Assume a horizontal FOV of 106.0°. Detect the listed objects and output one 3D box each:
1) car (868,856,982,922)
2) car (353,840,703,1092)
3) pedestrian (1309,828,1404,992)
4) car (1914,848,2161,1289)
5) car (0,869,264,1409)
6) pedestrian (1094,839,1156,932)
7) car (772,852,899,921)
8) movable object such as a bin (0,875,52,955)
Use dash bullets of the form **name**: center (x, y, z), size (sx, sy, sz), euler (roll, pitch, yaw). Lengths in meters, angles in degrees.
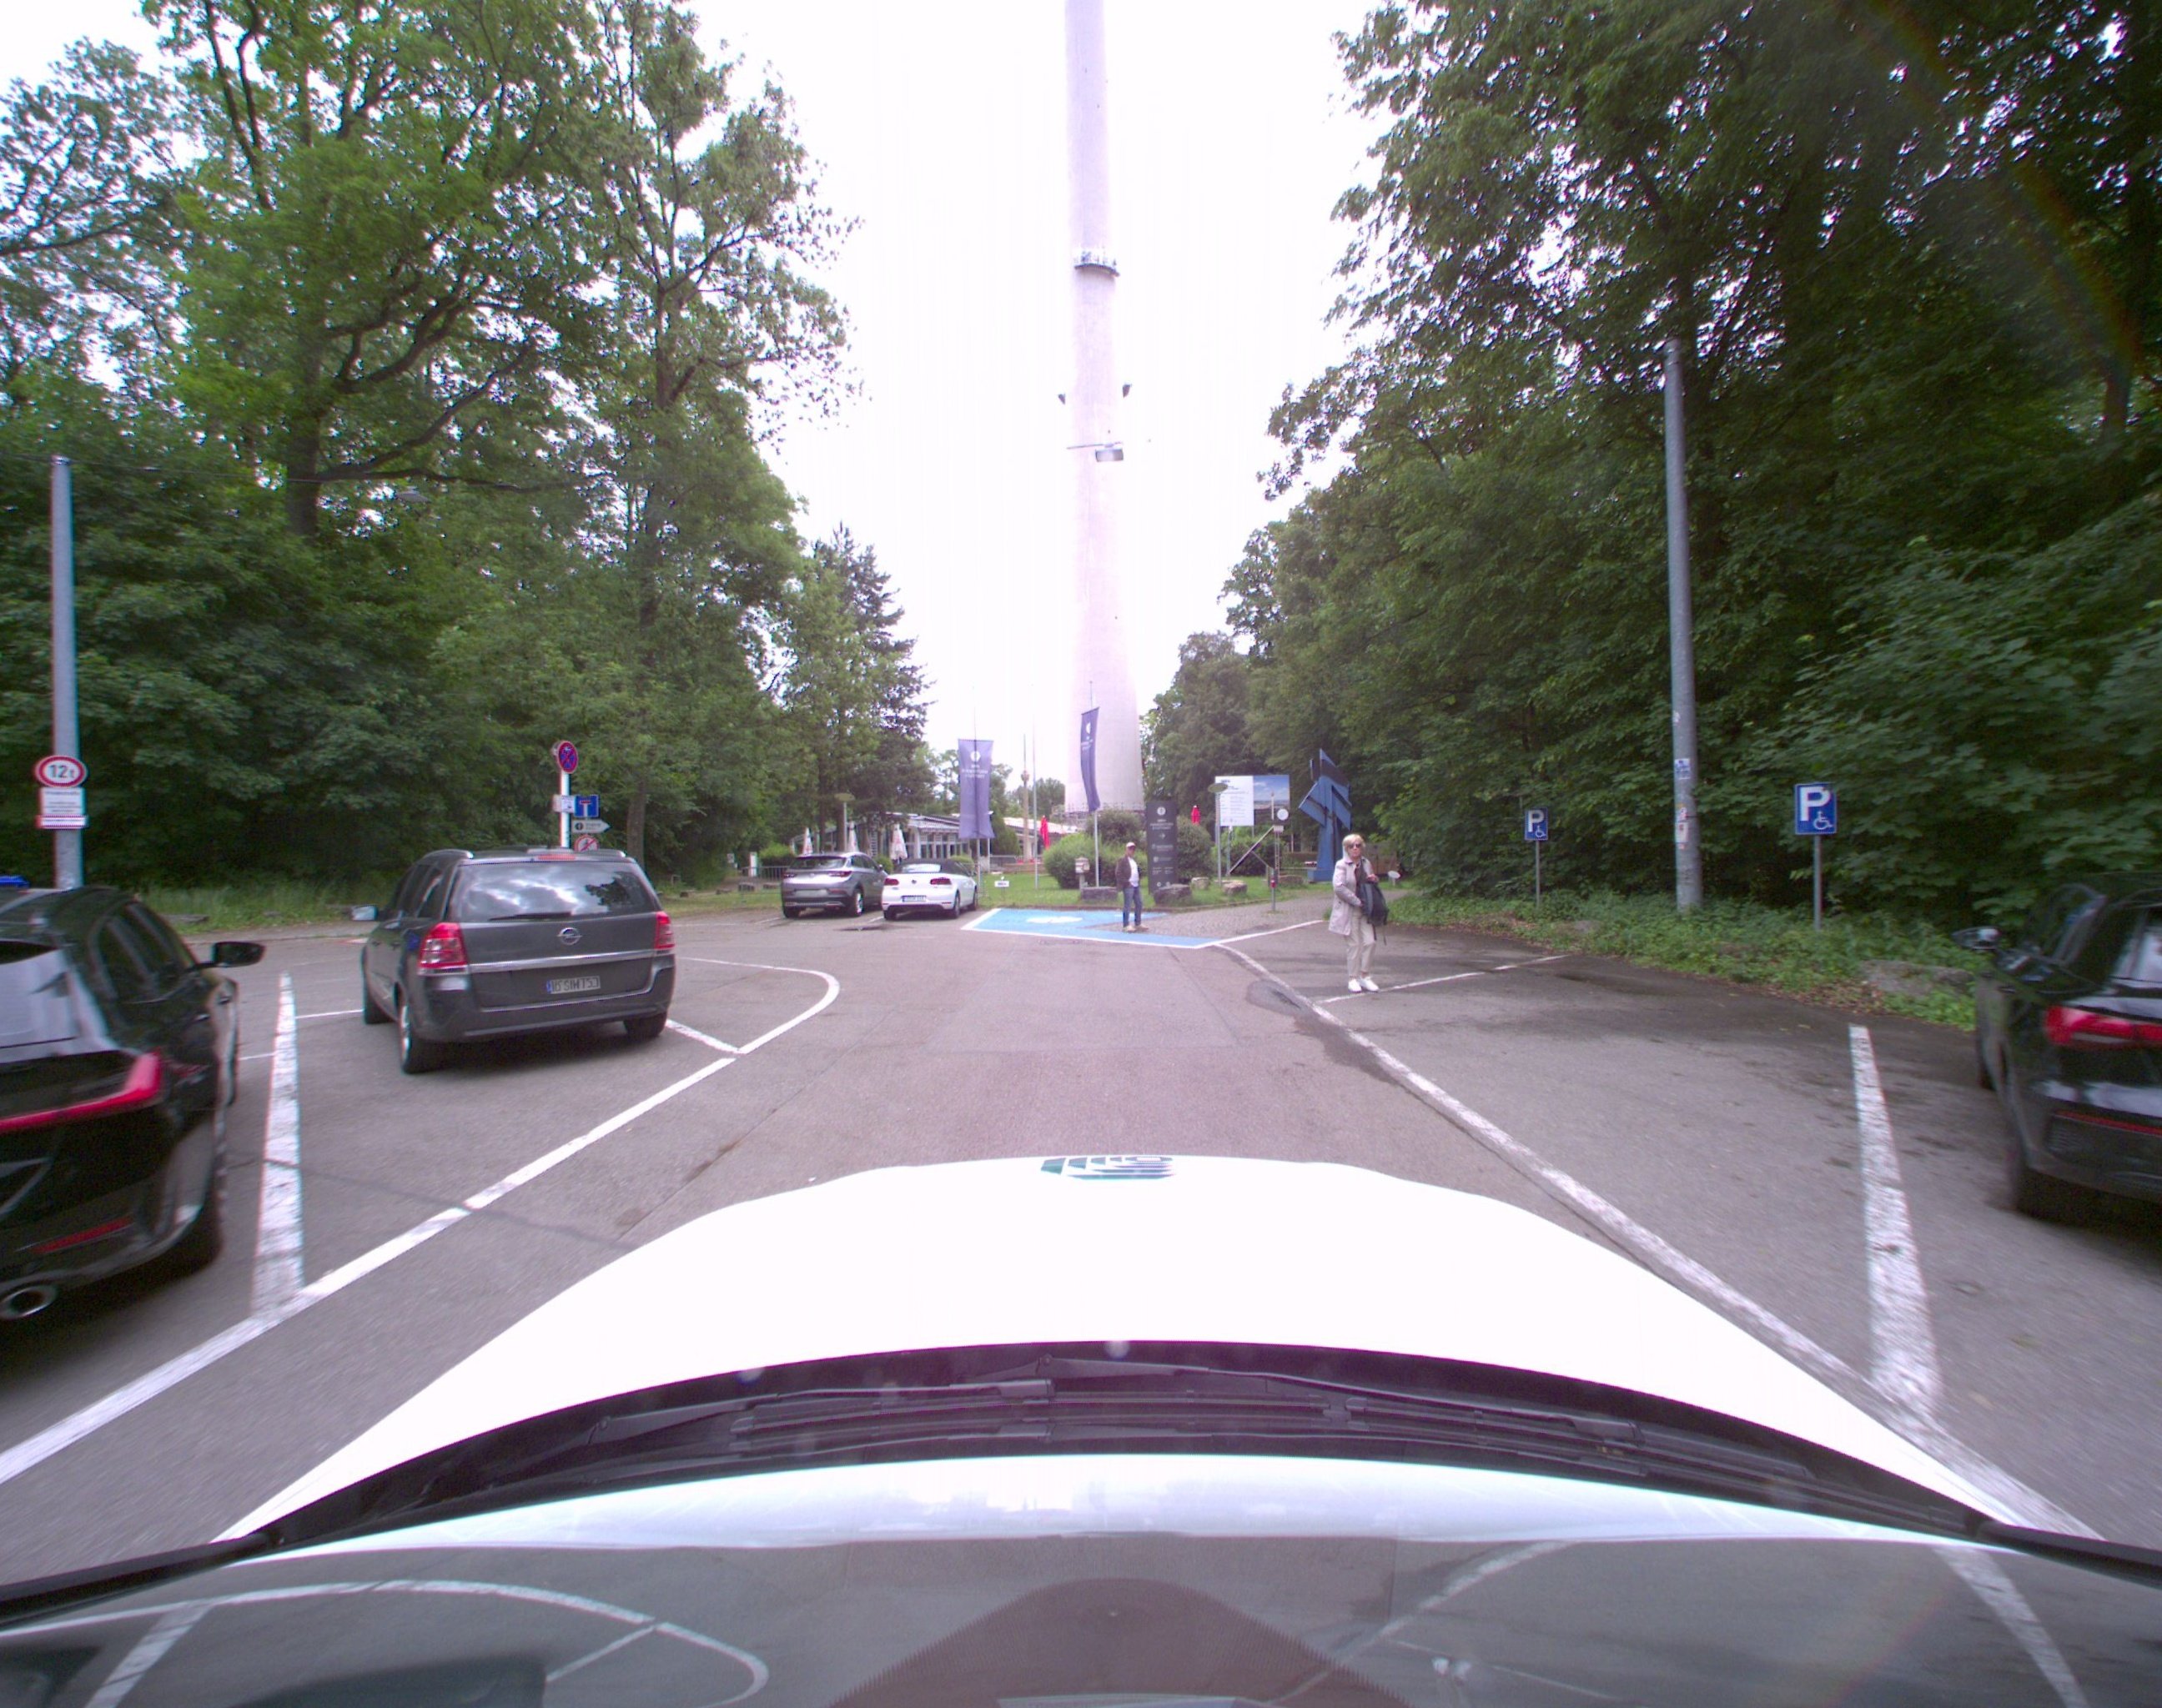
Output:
- **car**: center (-3.759, 0.794, 20.344), size (1.885, 1.428, 4.003), euler (-1, 0, 2)
- **car**: center (-5.210, 0.730, 7.392), size (4.333, 1.609, 1.840), euler (-1, 0, 45)
- **pedestrian**: center (3.031, 0.593, 9.041), size (0.759, 1.725, 0.897), euler (-1, 0, 3)
- **car**: center (5.412, 0.710, 3.914), size (4.228, 1.462, 1.876), euler (-1, 0, -43)
- **car**: center (-4.707, 0.807, 3.413), size (4.225, 1.443, 1.770), euler (-1, 0, 44)
- **pedestrian**: center (0.855, 0.591, 15.746), size (0.885, 1.725, 0.769), euler (-1, 0, 40)
- **car**: center (-6.214, 0.767, 21.147), size (1.885, 1.585, 4.003), euler (-1, 0, 3)
- **movable object such as a bin**: center (-18.832, 1.049, 13.810), size (1.253, 1.325, 1.142), euler (-1, 0, -11)
